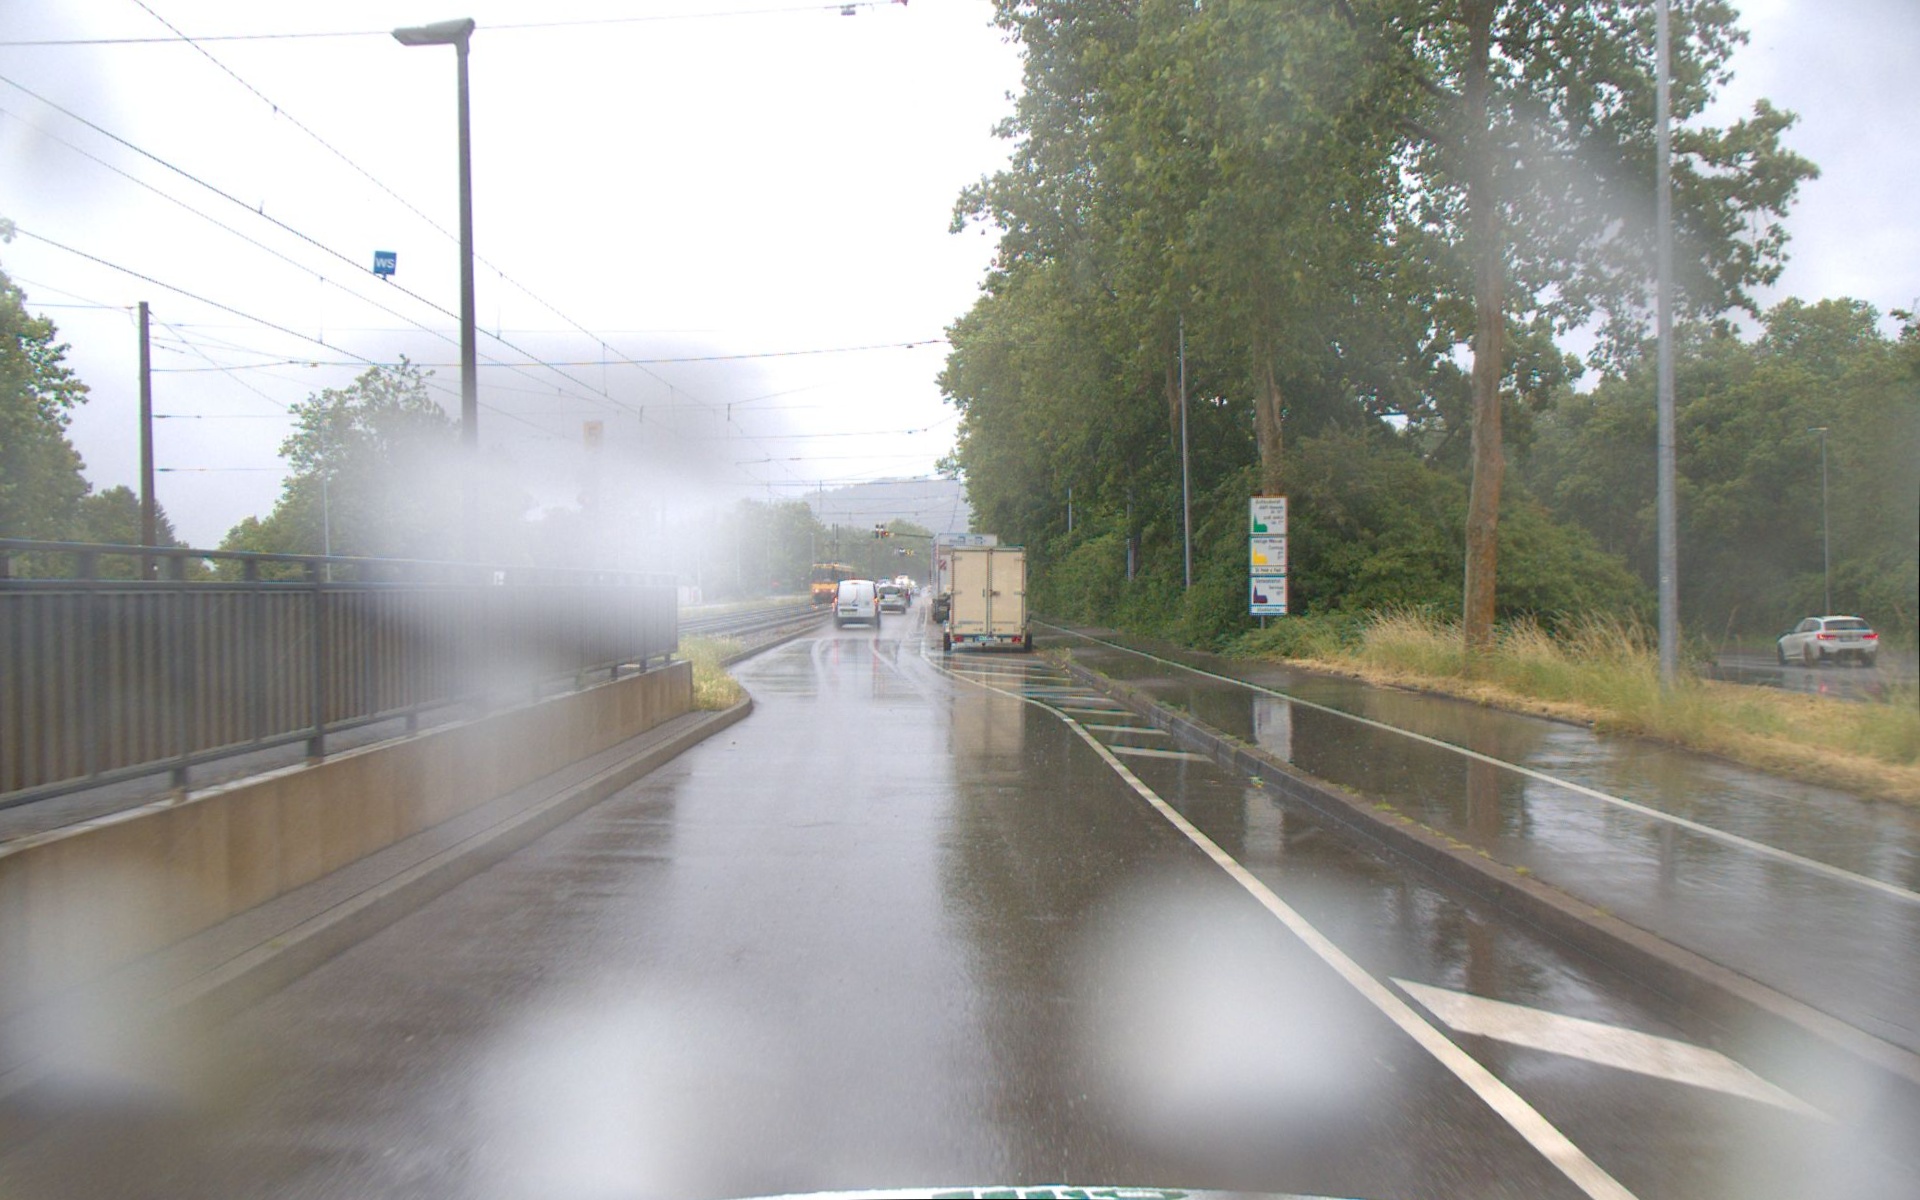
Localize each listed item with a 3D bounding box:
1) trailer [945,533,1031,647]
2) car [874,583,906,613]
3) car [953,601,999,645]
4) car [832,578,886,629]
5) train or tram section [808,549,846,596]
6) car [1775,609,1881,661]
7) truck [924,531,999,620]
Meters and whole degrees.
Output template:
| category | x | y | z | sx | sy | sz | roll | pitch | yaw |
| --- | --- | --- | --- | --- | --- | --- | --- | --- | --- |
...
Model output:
| category | x | y | z | sx | sy | sz | roll | pitch | yaw |
| --- | --- | --- | --- | --- | --- | --- | --- | --- | --- |
| trailer | 0.766 | -0.235 | 43.711 | 2.121 | 2.806 | 5.677 | 0 | 0 | 1 |
| car | -3.980 | -0.107 | 94.644 | 1.750 | 1.671 | 3.967 | 0 | 0 | -1 |
| car | 0.617 | 0.842 | 61.827 | 1.678 | 1.555 | 4.001 | 0 | 0 | 1 |
| car | -3.895 | 0.124 | 63.088 | 1.954 | 1.881 | 3.996 | 0 | 0 | -5 |
| train or tram section | -12.522 | -2.537 | 156.537 | 2.749 | 4.222 | 13.017 | 0 | 0 | -1 |
| car | 25.966 | 1.016 | 49.612 | 1.848 | 1.456 | 4.003 | 0 | 0 | 13 |
| truck | -0.044 | -1.037 | 75.039 | 2.721 | 3.769 | 9.843 | 0 | 0 | -4 |
